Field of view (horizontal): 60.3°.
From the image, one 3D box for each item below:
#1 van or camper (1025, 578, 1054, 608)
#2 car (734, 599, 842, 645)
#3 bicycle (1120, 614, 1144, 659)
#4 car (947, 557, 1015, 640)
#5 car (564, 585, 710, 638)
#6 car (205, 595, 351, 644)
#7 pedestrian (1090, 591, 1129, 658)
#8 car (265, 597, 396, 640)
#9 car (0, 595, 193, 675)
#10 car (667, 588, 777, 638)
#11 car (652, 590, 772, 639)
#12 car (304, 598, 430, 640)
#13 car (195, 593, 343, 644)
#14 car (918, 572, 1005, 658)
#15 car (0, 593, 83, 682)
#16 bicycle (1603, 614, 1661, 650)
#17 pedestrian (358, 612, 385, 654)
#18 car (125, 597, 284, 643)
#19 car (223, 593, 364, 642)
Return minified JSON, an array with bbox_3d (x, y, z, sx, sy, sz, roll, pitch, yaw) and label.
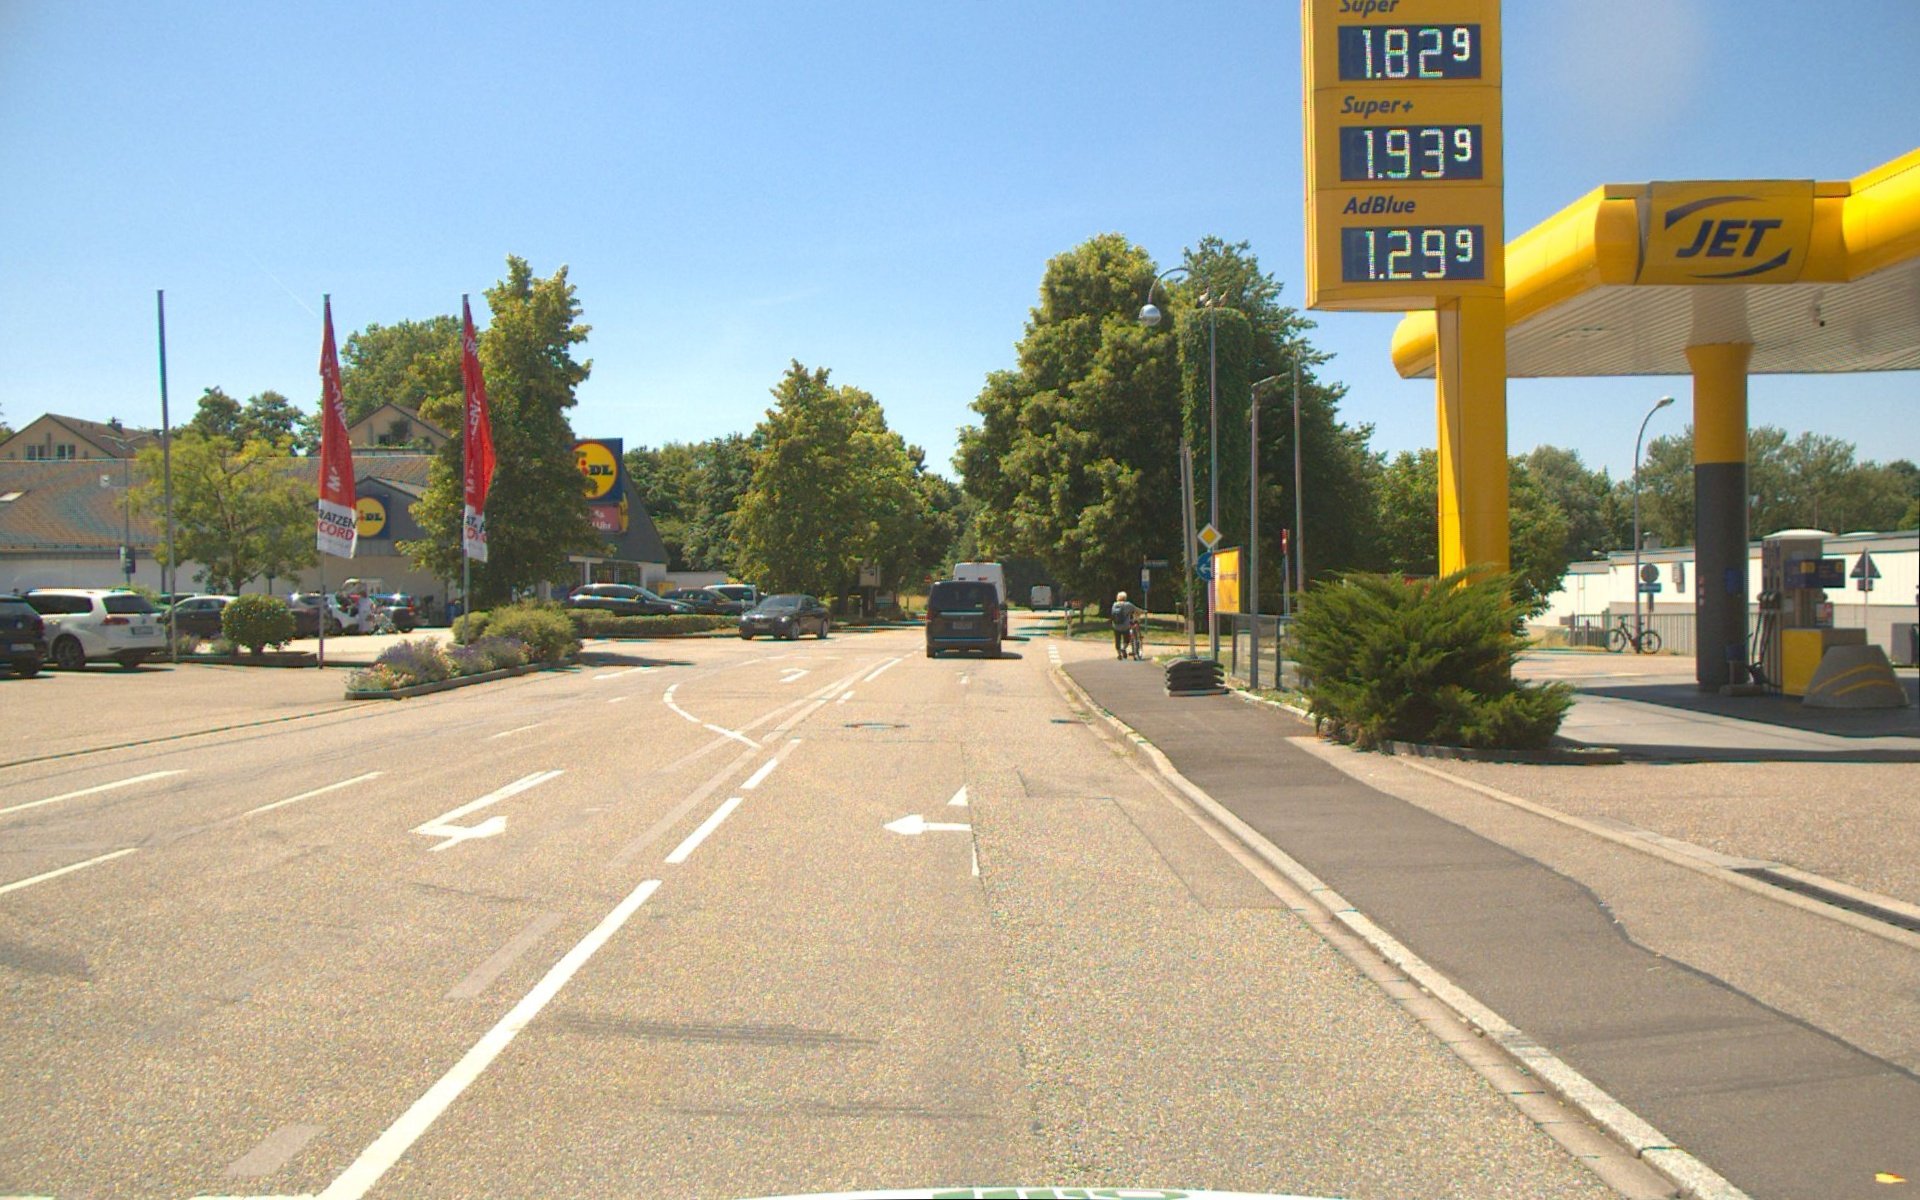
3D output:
[{"bbox_3d":[8.318,-0.736,173.276,2.578,2.980,5.205,1,-1,-1],"label":"van or camper"},{"bbox_3d":[-5.614,0.730,54.691,1.891,1.425,4.691,0,-1,17],"label":"car"},{"bbox_3d":[3.710,0.773,35.625,0.370,0.928,1.599,0,0,11],"label":"bicycle"},{"bbox_3d":[0.787,-0.046,58.384,2.034,2.750,4.668,2,0,4],"label":"car"},{"bbox_3d":[-11.386,0.404,58.415,4.608,1.793,2.100,1,-1,7],"label":"car"},{"bbox_3d":[-23.536,0.693,57.205,4.228,1.634,1.910,0,-1,-6],"label":"car"},{"bbox_3d":[3.262,0.529,35.996,0.752,1.446,0.868,0,0,11],"label":"pedestrian"},{"bbox_3d":[-23.688,0.709,62.355,4.224,1.557,1.827,1,-1,-1],"label":"car"},{"bbox_3d":[-17.315,0.645,32.103,4.095,1.472,1.981,0,0,15],"label":"car"},{"bbox_3d":[-9.847,0.546,68.611,4.267,2.015,1.905,1,-1,0],"label":"car"},{"bbox_3d":[-9.857,0.583,65.892,4.291,1.877,2.105,1,-1,8],"label":"car"},{"bbox_3d":[-23.071,0.734,64.449,4.224,1.557,1.827,1,-1,-1],"label":"car"},{"bbox_3d":[-22.804,0.606,54.700,4.154,1.617,1.767,0,-1,-6],"label":"car"},{"bbox_3d":[0.104,0.369,41.919,1.952,1.987,5.006,2,0,2],"label":"car"},{"bbox_3d":[-17.790,0.628,29.386,3.549,1.500,2.001,0,0,17],"label":"car"},{"bbox_3d":[21.321,1.019,52.468,1.657,1.117,0.468,0,-1,4],"label":"bicycle"},{"bbox_3d":[-21.396,1.205,60.091,0.876,1.509,0.803,1,-1,-22],"label":"pedestrian"},{"bbox_3d":[-23.686,0.635,51.985,4.154,1.393,1.767,0,-1,-6],"label":"car"},{"bbox_3d":[-24.117,0.650,59.993,4.224,1.684,2.113,1,-1,-1],"label":"car"}]
